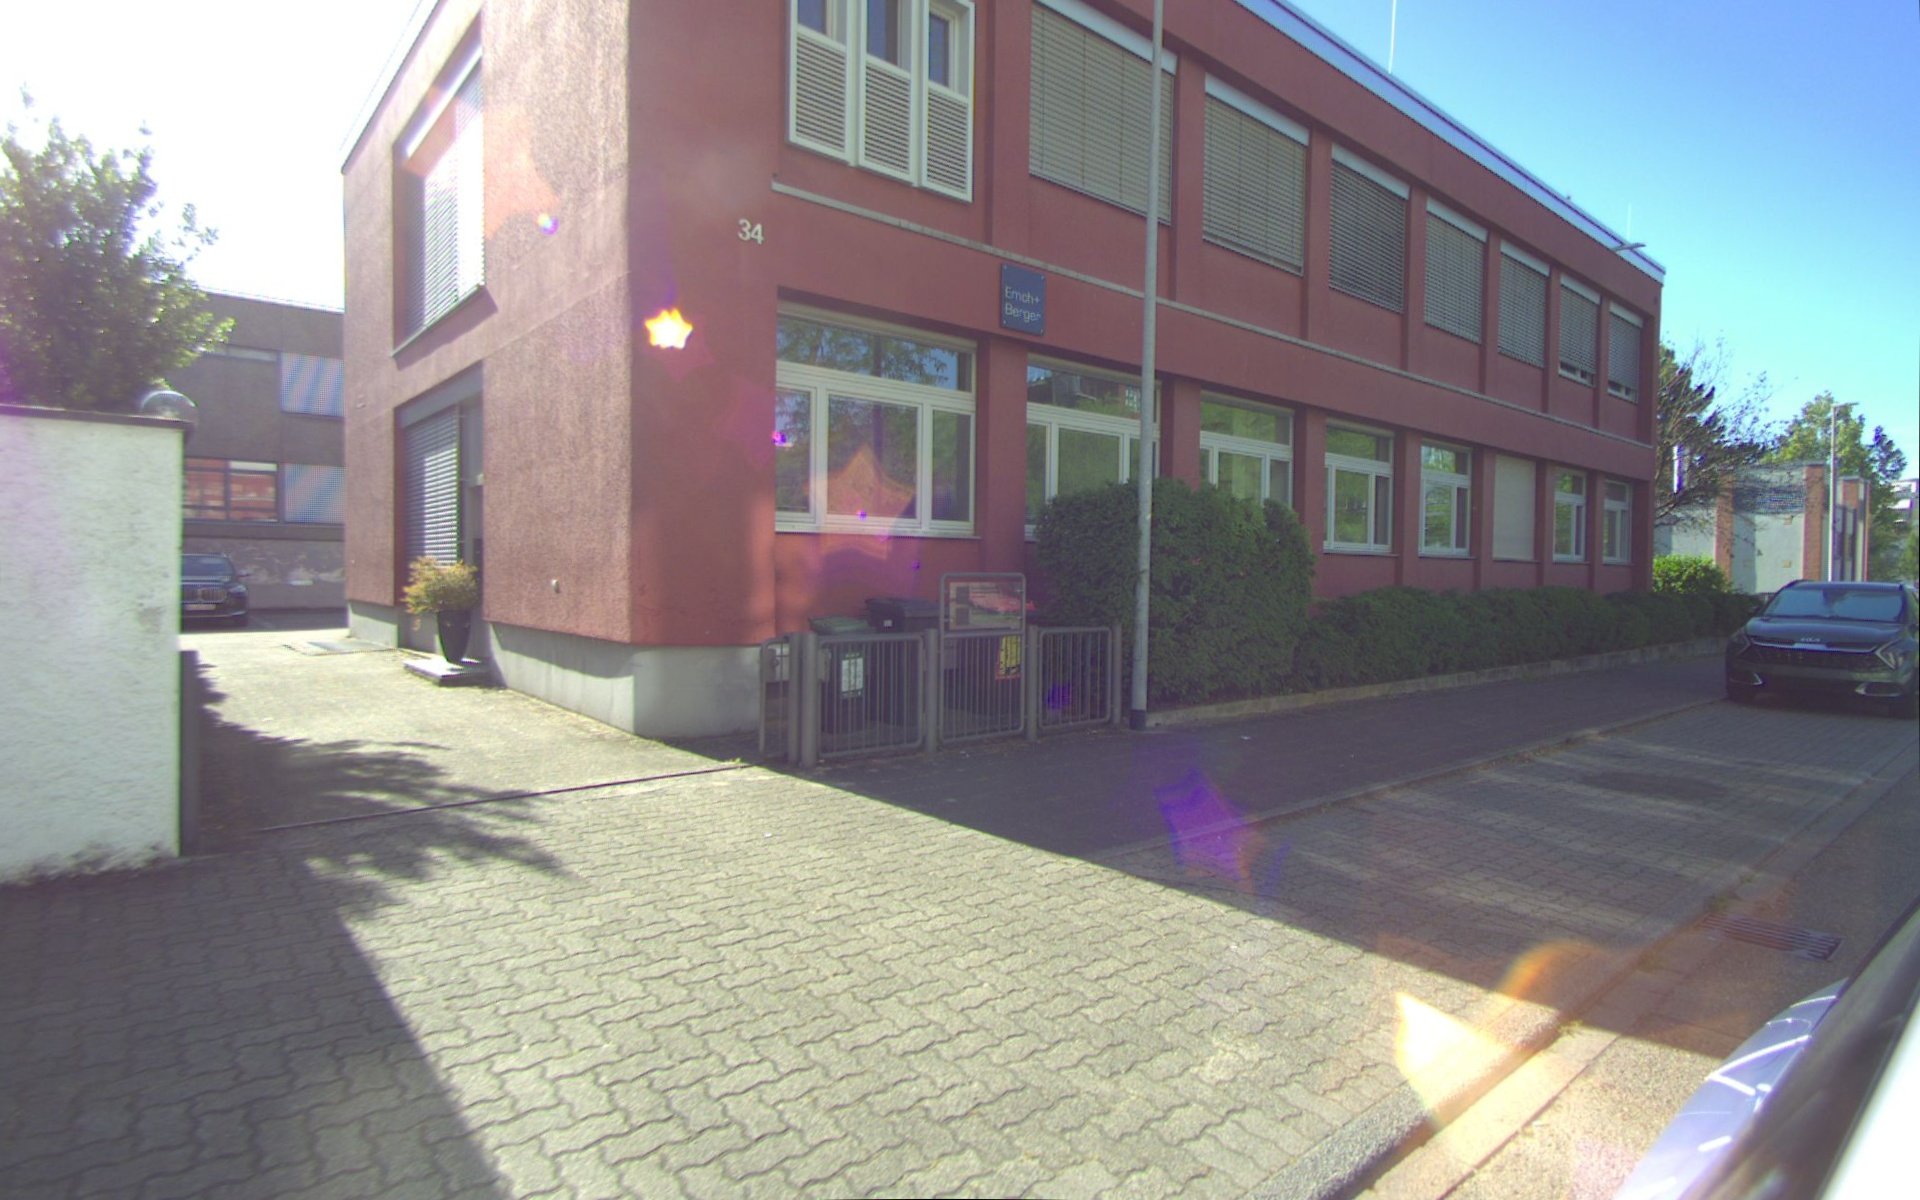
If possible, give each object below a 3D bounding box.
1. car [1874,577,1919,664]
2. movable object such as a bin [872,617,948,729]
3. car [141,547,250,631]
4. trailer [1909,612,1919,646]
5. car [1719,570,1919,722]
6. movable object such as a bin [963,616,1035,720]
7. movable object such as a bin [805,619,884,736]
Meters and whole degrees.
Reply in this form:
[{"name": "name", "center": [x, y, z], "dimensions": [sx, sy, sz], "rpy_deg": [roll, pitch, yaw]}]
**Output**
[{"name": "car", "center": [20.263, 0.402, 20.580], "dimensions": [4.328, 1.650, 1.878], "rpy_deg": [0, 3, -40]}, {"name": "movable object such as a bin", "center": [-0.437, 0.616, 8.765], "dimensions": [0.466, 0.912, 0.478], "rpy_deg": [0, 0, -39]}, {"name": "car", "center": [-17.054, -0.248, 22.513], "dimensions": [1.802, 1.683, 3.996], "rpy_deg": [0, 1, -39]}, {"name": "trailer", "center": [28.206, 0.861, 27.921], "dimensions": [2.918, 0.938, 1.571], "rpy_deg": [1, 2, -13]}, {"name": "car", "center": [11.809, 0.487, 13.359], "dimensions": [4.295, 1.650, 1.903], "rpy_deg": [0, 3, -40]}, {"name": "movable object such as a bin", "center": [0.359, 0.615, 9.395], "dimensions": [0.466, 0.912, 0.478], "rpy_deg": [0, 0, -39]}, {"name": "movable object such as a bin", "center": [-0.961, 0.621, 8.402], "dimensions": [0.466, 0.912, 0.478], "rpy_deg": [0, 0, -39]}]
